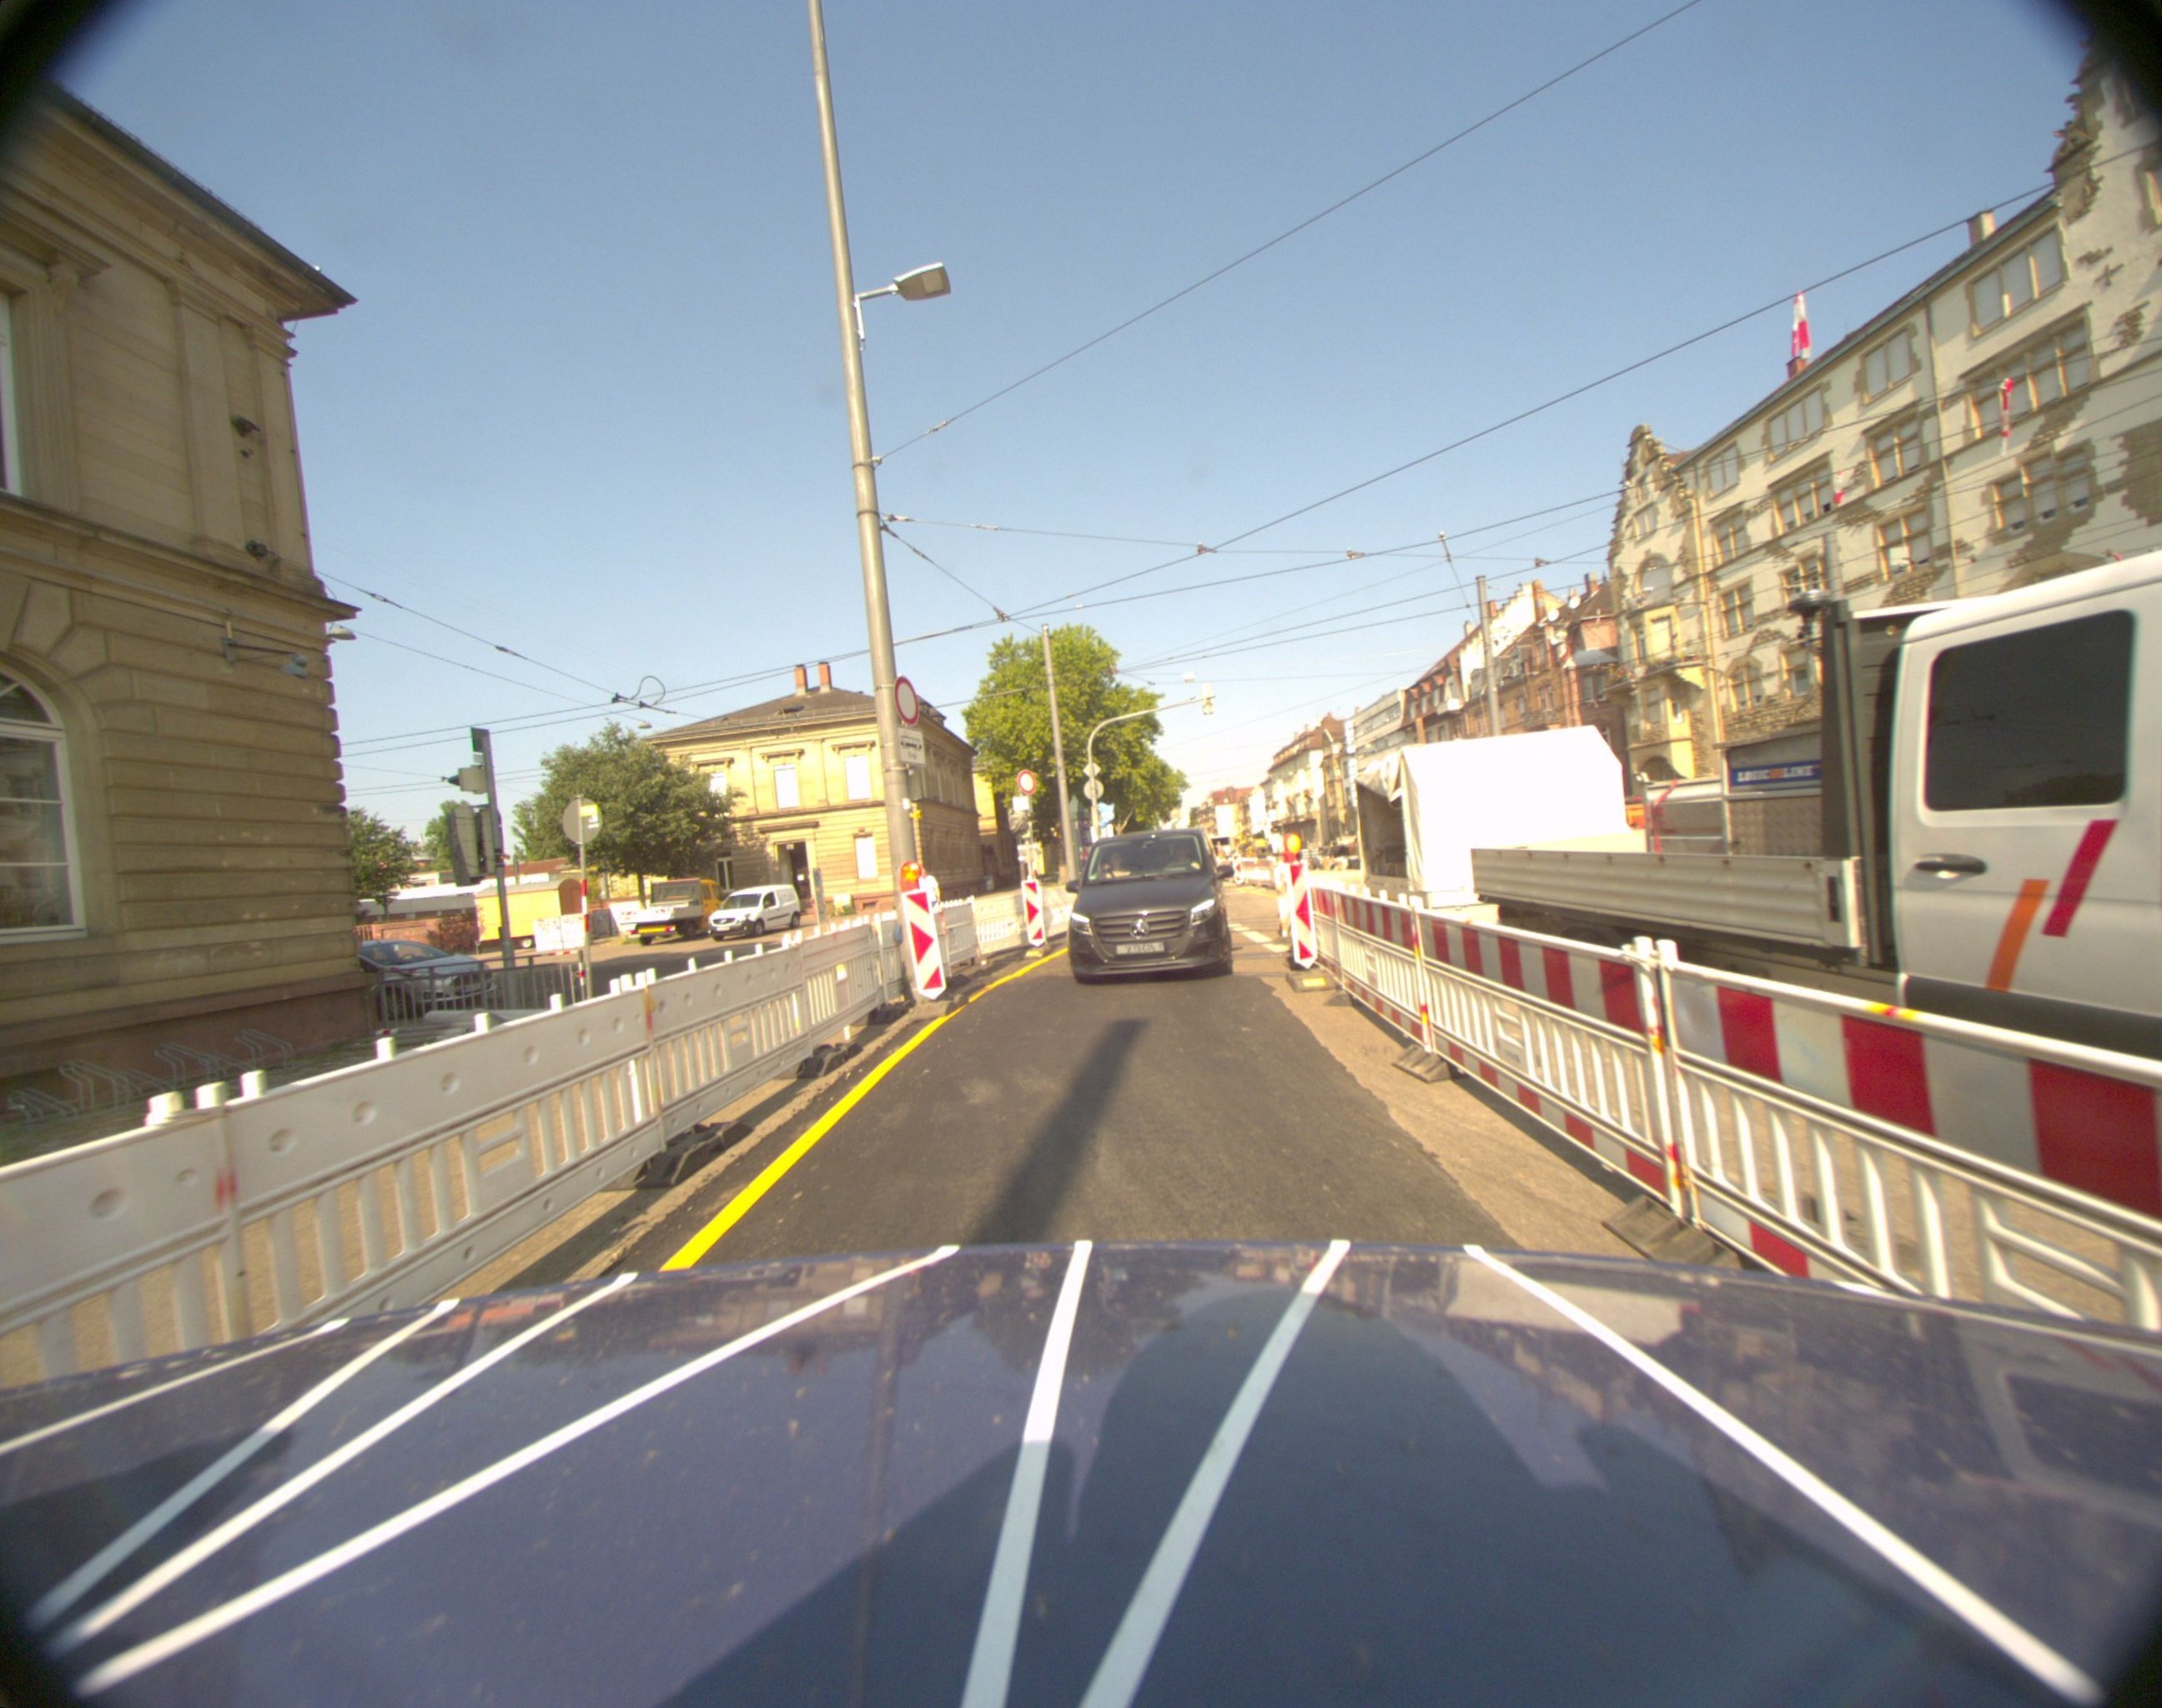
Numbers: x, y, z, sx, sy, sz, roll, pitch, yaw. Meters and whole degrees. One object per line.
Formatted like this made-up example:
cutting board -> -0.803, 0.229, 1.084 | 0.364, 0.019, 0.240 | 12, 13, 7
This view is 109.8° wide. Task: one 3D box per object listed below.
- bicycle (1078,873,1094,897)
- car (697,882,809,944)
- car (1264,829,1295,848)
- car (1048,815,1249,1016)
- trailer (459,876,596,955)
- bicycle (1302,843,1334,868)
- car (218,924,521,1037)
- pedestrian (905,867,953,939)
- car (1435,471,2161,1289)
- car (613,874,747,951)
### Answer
bicycle -> 0.222, 1.418, 34.874 | 0.539, 1.000, 1.571 | -5, 0, 4
car -> -12.174, 2.127, 28.556 | 1.908, 1.773, 4.226 | -5, 1, 5
car -> 25.711, -1.969, 98.872 | 2.366, 2.122, 7.123 | -6, 0, 3
car -> 0.803, 0.604, 9.596 | 1.852, 1.875, 4.180 | -4, 0, 4
trailer -> -25.585, 2.783, 35.291 | 4.119, 3.030, 2.513 | -6, 1, -3
bicycle -> 11.292, 0.054, 36.272 | 0.564, 1.092, 1.966 | -8, 1, -6
car -> -13.206, 2.319, 14.270 | 4.009, 1.528, 1.665 | -4, 1, 1
pedestrian -> -3.923, 1.249, 19.657 | 0.868, 1.727, 0.671 | -6, 0, 3
car -> 4.282, -0.003, 3.166 | 2.213, 2.410, 7.200 | -6, 0, 2
car -> -15.858, 2.213, 30.528 | 2.264, 2.408, 5.488 | -6, 0, -1
